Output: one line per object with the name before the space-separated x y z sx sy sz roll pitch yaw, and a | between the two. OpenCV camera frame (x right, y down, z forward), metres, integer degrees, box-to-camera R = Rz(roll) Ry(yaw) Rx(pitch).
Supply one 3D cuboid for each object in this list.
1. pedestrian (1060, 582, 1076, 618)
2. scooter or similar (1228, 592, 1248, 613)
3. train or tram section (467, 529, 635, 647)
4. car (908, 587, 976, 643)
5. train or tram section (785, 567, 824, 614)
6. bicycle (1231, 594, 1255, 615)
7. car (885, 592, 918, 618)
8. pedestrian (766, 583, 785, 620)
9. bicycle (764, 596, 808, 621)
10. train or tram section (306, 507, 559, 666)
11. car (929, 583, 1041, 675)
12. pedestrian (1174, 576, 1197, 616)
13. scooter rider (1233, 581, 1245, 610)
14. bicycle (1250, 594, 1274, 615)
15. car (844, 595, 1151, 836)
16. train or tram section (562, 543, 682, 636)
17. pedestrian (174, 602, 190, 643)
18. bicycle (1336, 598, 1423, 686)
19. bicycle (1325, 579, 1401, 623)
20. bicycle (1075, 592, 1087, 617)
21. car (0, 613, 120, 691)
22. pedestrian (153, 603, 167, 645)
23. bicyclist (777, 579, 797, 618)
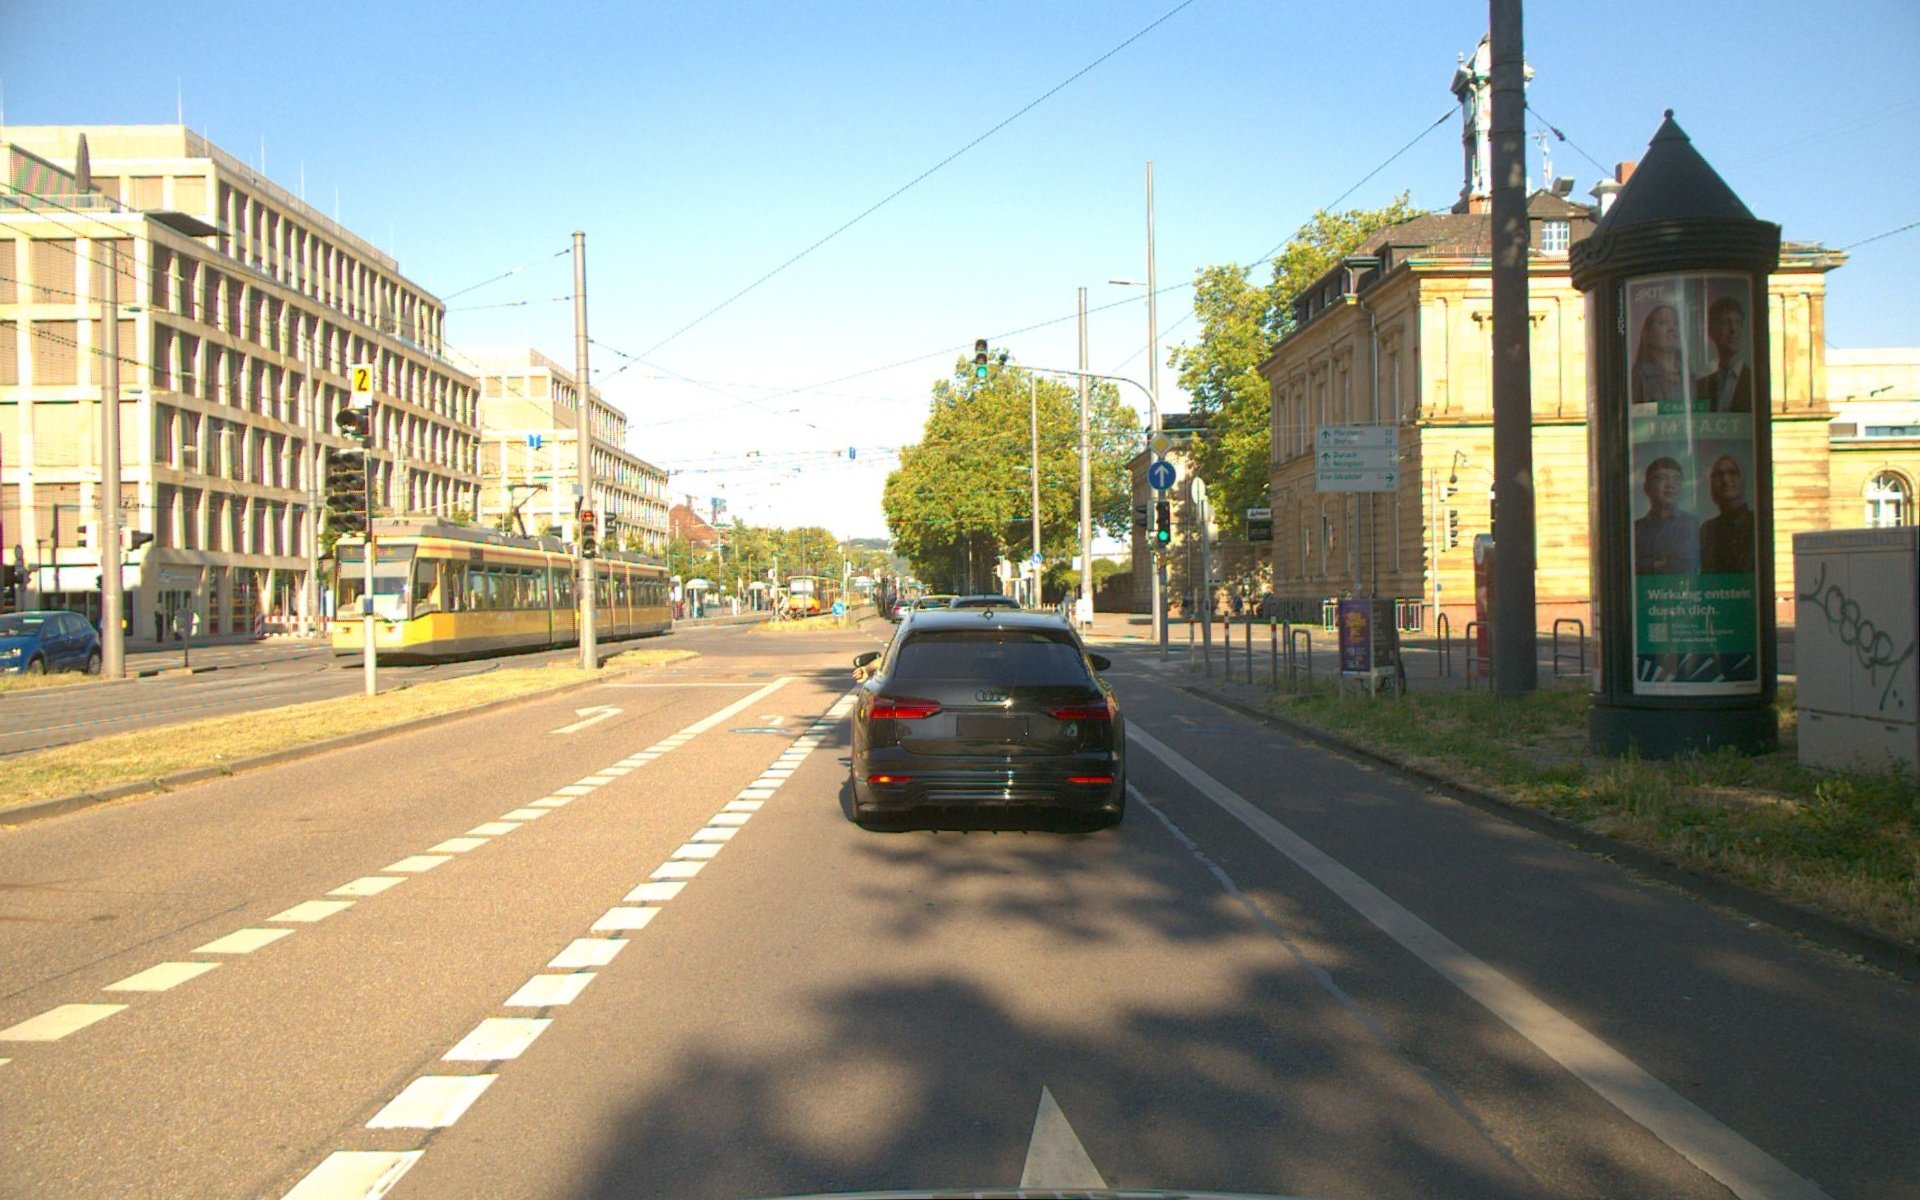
pedestrian | 5.257 0.002 80.399 0.668 1.689 0.758 -1 0 -3
scooter or similar | 14.019 0.117 83.339 0.920 0.983 0.361 -2 -1 -4
train or tram section | -13.863 -0.390 57.471 2.756 3.550 13.200 -1 0 -1
car | -0.515 0.416 47.935 1.864 1.512 4.144 1 0 -1
train or tram section | -12.443 -0.744 132.949 2.556 3.511 11.125 -1 0 -3
bicycle | 15.292 0.239 89.510 0.516 1.065 2.354 -1 0 -9
car | -3.499 0.303 99.573 1.864 1.512 4.144 1 0 -1
pedestrian | -9.134 0.081 81.852 0.730 1.772 0.658 -1 0 -25
bicycle | -8.483 0.400 80.538 1.977 1.127 0.759 -2 0 -22
train or tram section | -13.607 -0.325 44.260 2.756 3.550 13.200 -1 0 -1
car | 0.392 0.486 29.745 1.864 1.512 4.144 1 0 -1
pedestrian | 10.983 -0.182 80.694 0.959 1.898 0.826 -1 0 -1
scooter rider | 14.040 -0.219 83.351 0.475 1.410 0.377 -2 -1 -3
bicycle | 16.336 0.241 89.517 0.516 1.065 2.354 -1 0 -9
car | 0.207 0.707 12.207 1.864 1.446 4.144 1 0 -1
train or tram section | -14.125 -0.435 70.151 2.756 3.550 12.150 -1 0 -1
pedestrian | -35.303 1.023 75.036 0.527 1.876 0.437 -2 0 -39
bicycle | 5.426 0.523 21.490 0.529 1.080 1.769 -1 0 -5
bicycle | 12.352 0.024 50.708 2.094 1.230 0.765 -3 0 -3
bicycle | 5.876 0.214 80.437 0.426 1.165 1.339 -1 0 -3
car | -19.254 1.045 34.295 1.784 1.482 4.153 -2 0 -4
pedestrian | -35.970 1.082 74.362 0.469 1.876 0.437 -2 0 -39
bicyclist | -8.431 -0.074 80.567 0.746 1.850 0.760 -1 0 -21
